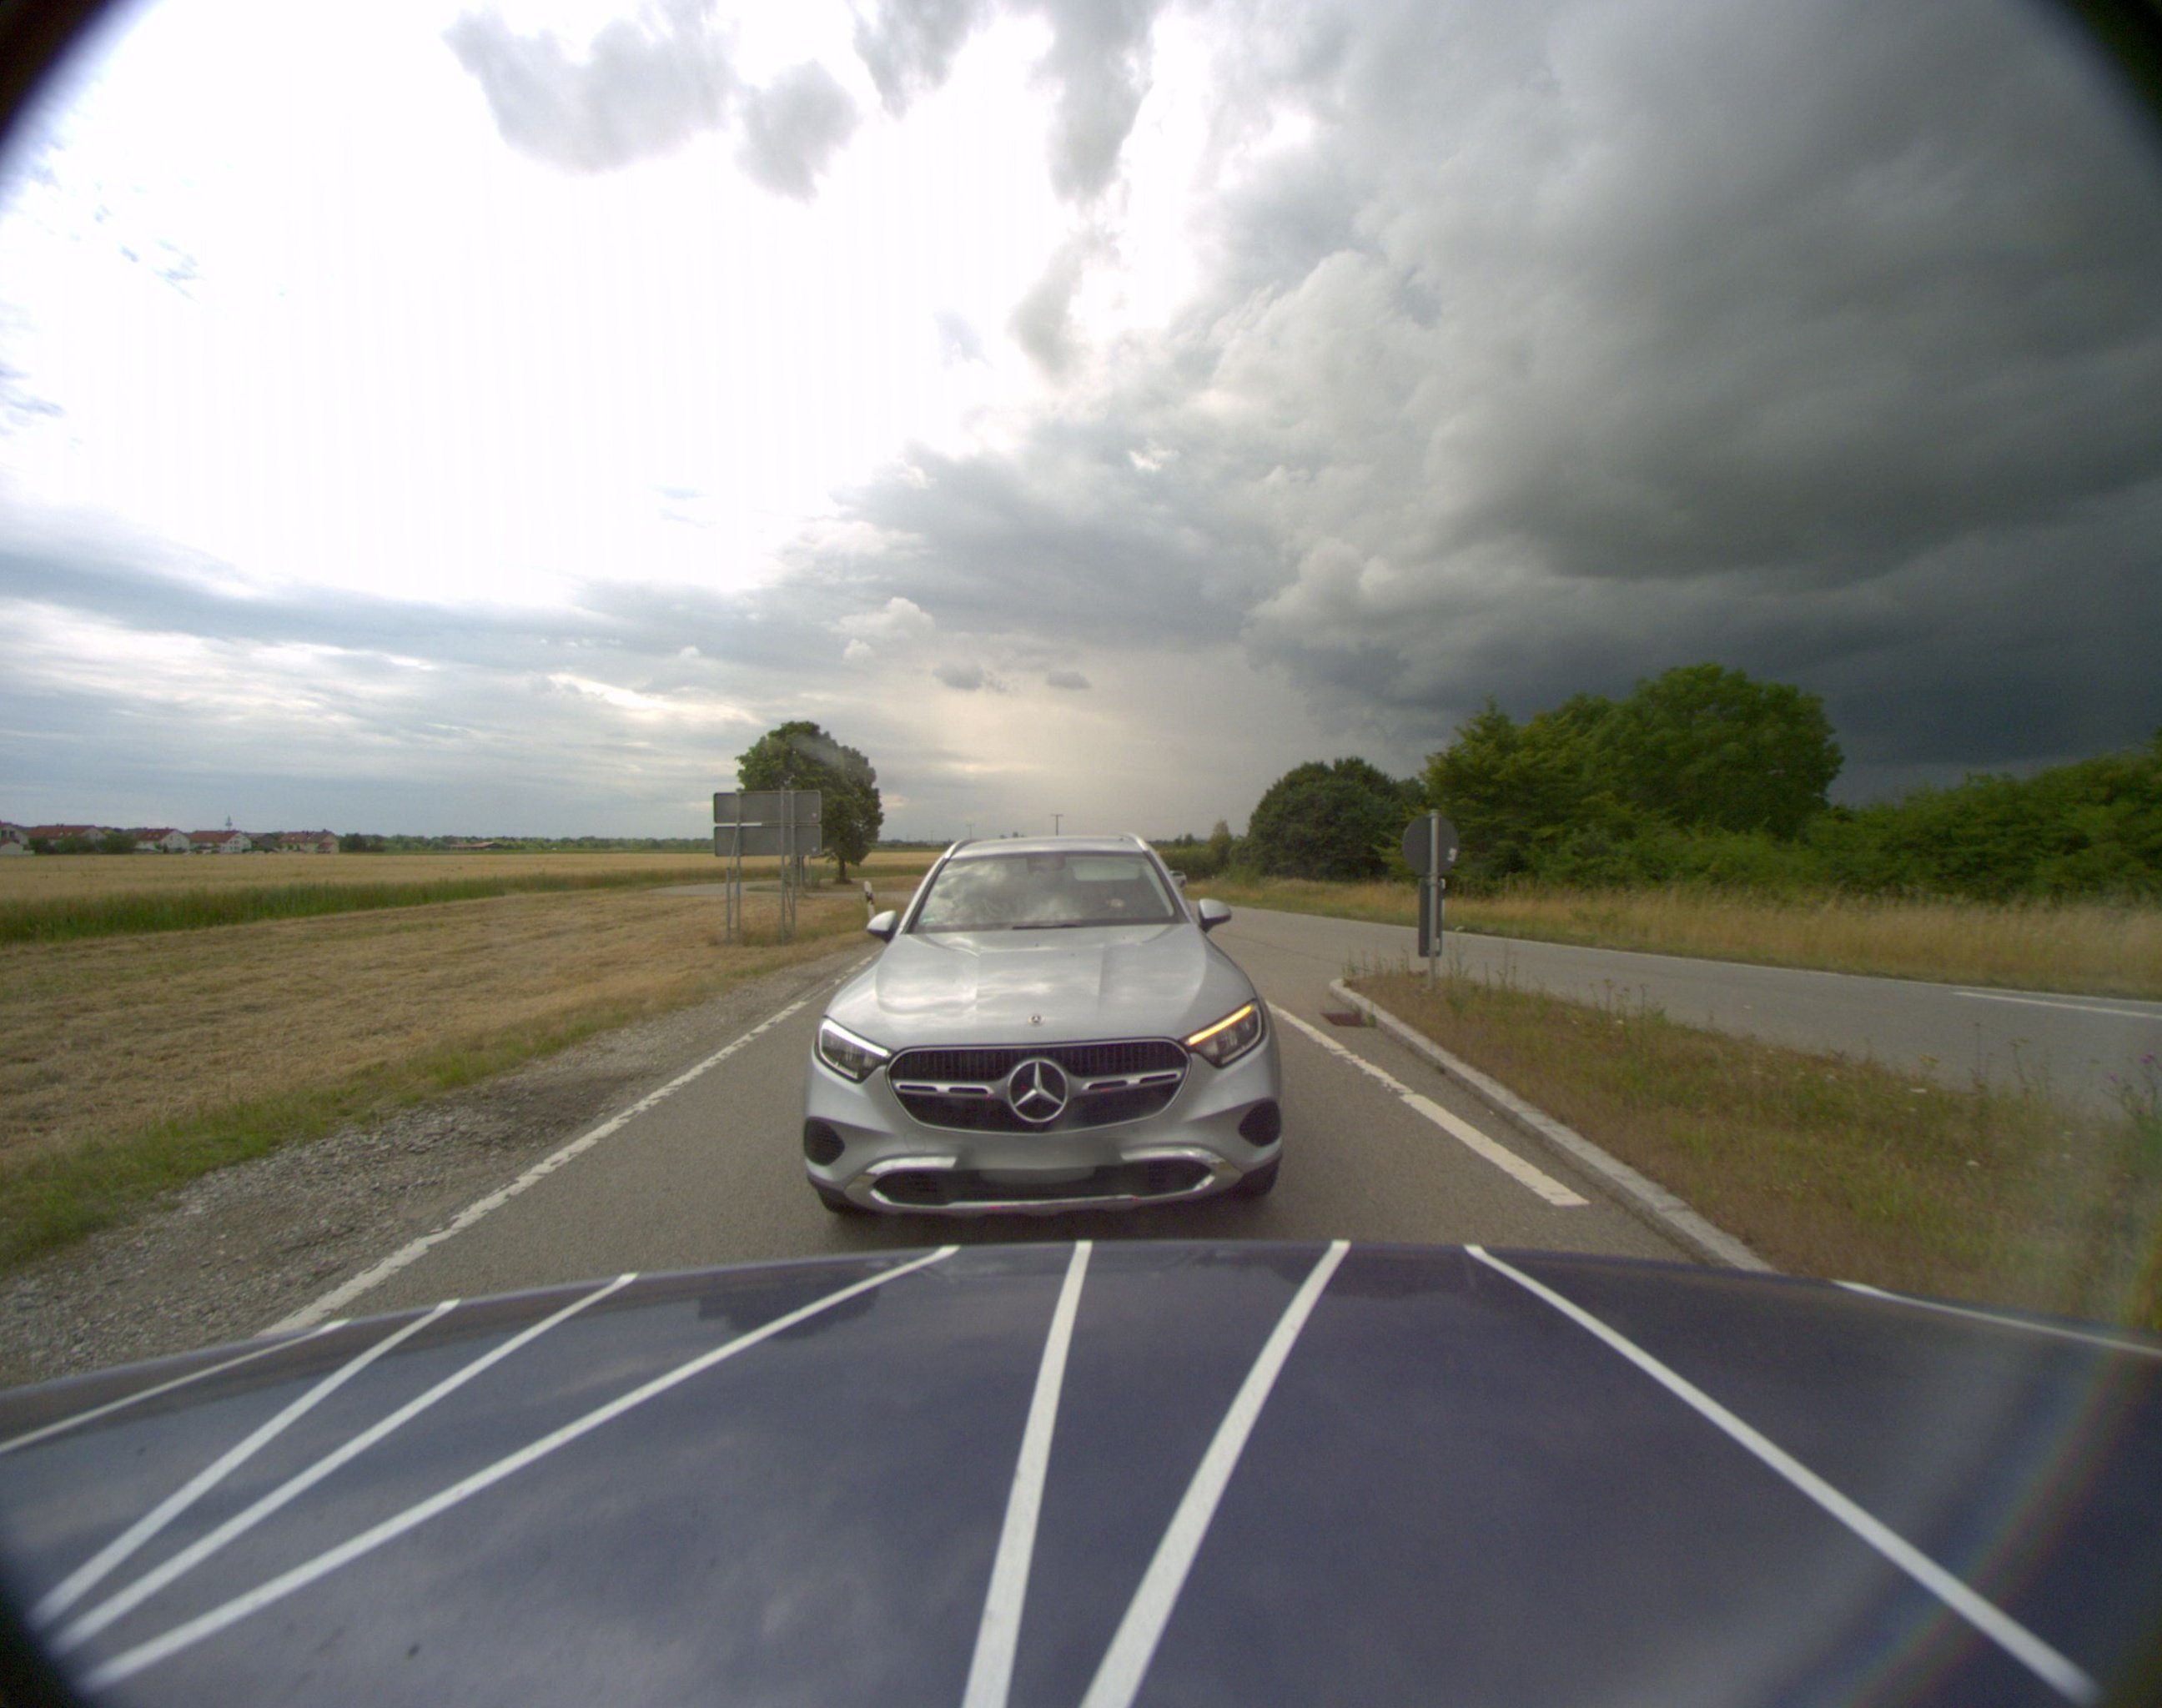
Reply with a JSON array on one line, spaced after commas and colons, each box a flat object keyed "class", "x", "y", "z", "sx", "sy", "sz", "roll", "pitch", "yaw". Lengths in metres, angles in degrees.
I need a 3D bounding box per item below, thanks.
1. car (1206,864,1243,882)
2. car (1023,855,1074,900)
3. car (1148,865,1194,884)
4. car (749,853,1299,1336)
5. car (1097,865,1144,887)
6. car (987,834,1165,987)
[{"class": "car", "x": 16.183, "y": 2.104, "z": 85.722, "sx": 1.994, "sy": 1.710, "sz": 5.219, "roll": 3, "pitch": 2, "yaw": 36}, {"class": "car", "x": -1.326, "y": 0.926, "z": 32.302, "sx": 1.999, "sy": 1.710, "sz": 5.207, "roll": 0, "pitch": 1, "yaw": -1}, {"class": "car", "x": 9.062, "y": 2.051, "z": 76.329, "sx": 1.993, "sy": 1.710, "sz": 5.220, "roll": 3, "pitch": 2, "yaw": 41}, {"class": "car", "x": -0.251, "y": 0.802, "z": 4.782, "sx": 1.837, "sy": 1.577, "sz": 4.448, "roll": 0, "pitch": 1, "yaw": -2}, {"class": "car", "x": 3.619, "y": 1.915, "z": 68.357, "sx": 1.994, "sy": 1.710, "sz": 5.218, "roll": 3, "pitch": 2, "yaw": 31}, {"class": "car", "x": -0.075, "y": 0.661, "z": 11.218, "sx": 1.999, "sy": 1.709, "sz": 5.208, "roll": 1, "pitch": 0, "yaw": 0}]
